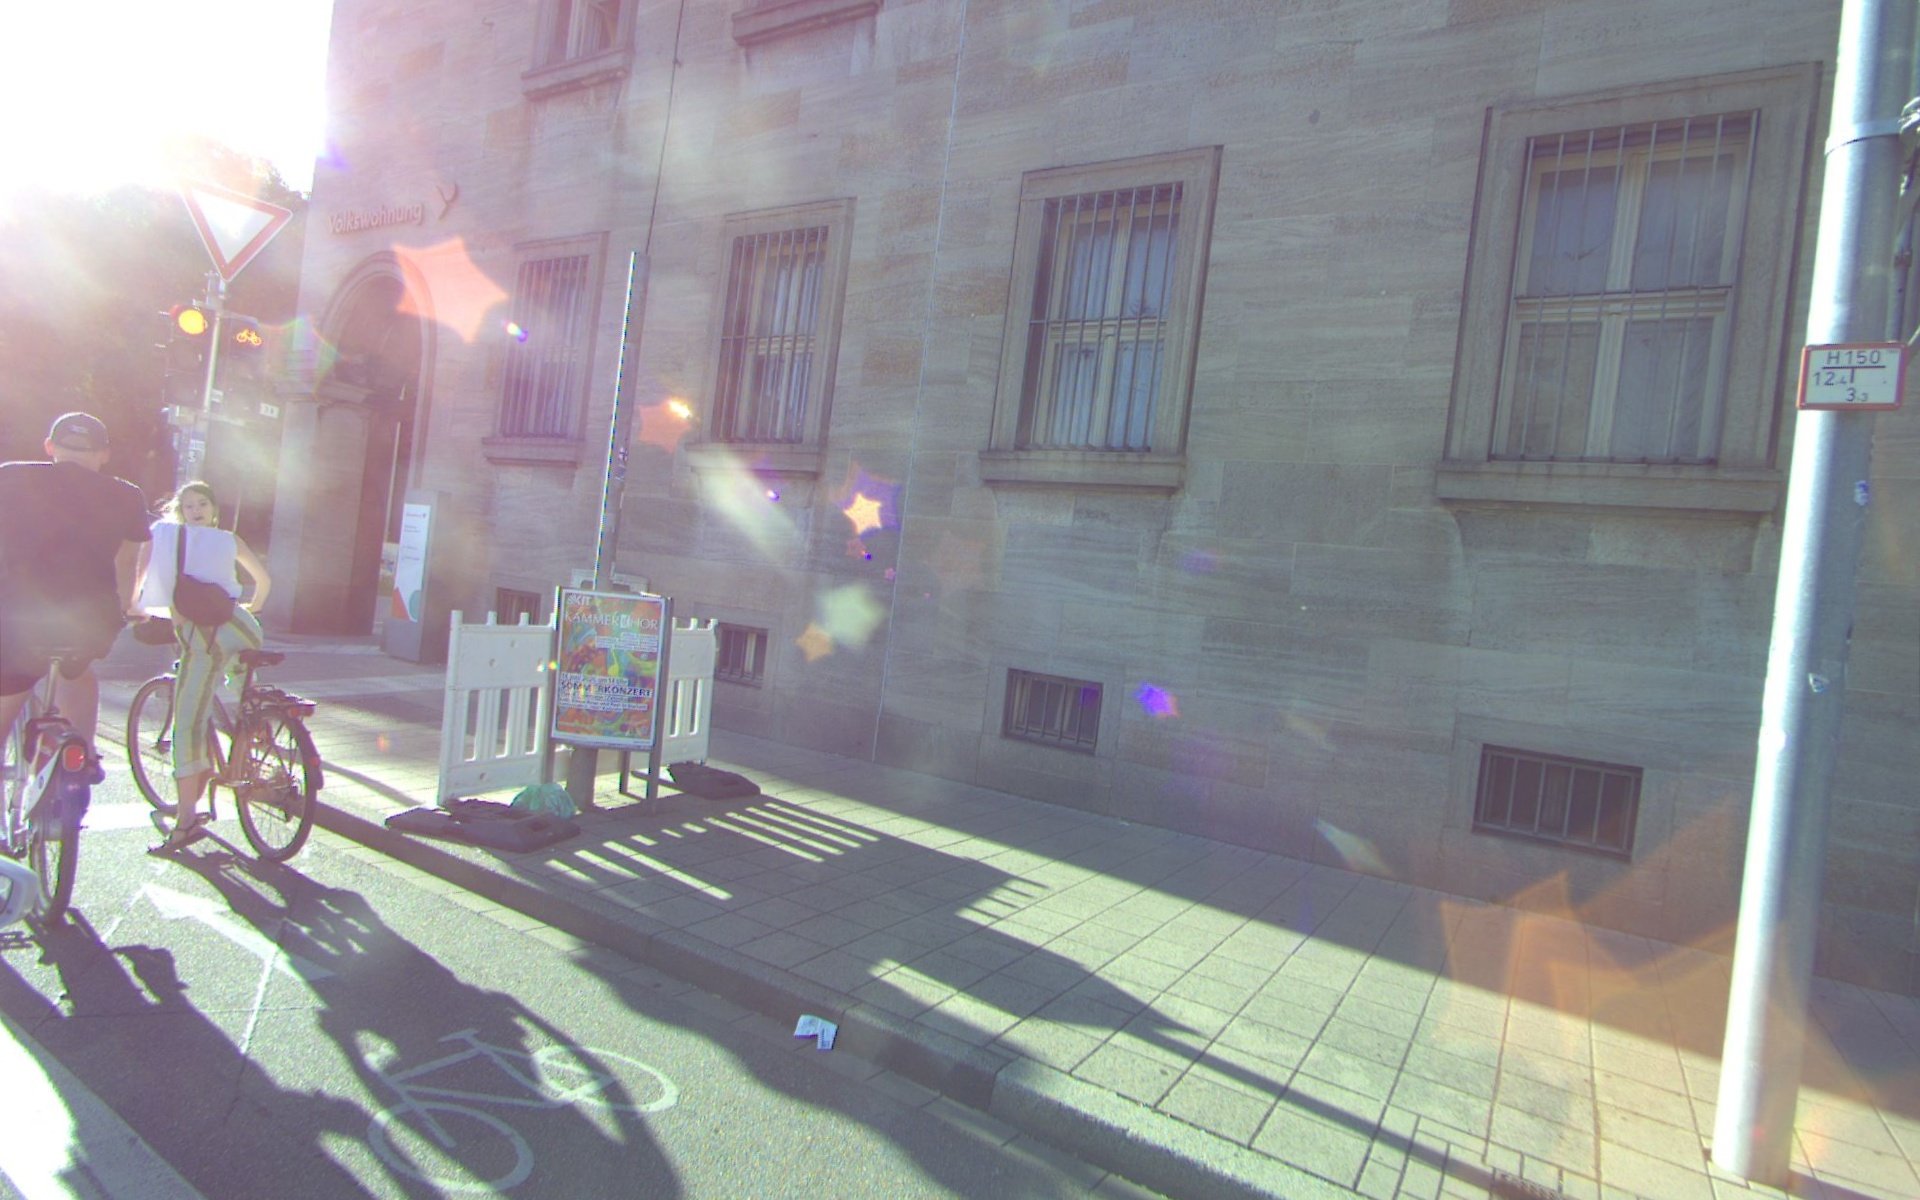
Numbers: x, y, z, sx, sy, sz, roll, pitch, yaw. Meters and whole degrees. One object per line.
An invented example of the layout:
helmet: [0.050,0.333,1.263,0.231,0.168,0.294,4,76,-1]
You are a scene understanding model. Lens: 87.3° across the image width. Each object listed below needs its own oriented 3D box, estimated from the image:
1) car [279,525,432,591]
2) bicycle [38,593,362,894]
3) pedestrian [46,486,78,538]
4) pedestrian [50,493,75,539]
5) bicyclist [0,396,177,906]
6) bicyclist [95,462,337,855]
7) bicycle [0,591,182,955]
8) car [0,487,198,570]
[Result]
car: [-19.729,-1.337,32.986,1.623,1.630,3.854,7,-1,31]
bicycle: [-3.692,0.616,4.845,1.721,1.090,0.535,7,-1,31]
pedestrian: [-31.043,-3.033,34.777,0.506,1.683,0.583,8,0,34]
pedestrian: [-31.382,-2.948,35.193,0.430,1.522,0.440,7,1,33]
bicyclist: [-3.559,0.188,3.857,0.541,1.820,0.559,7,-1,33]
bicyclist: [-3.545,0.261,4.806,0.629,1.711,0.558,7,-1,30]
bicycle: [-3.748,0.569,3.927,1.700,1.090,0.516,7,-1,34]
car: [-23.383,-1.899,27.198,1.622,1.630,3.999,7,-1,31]
